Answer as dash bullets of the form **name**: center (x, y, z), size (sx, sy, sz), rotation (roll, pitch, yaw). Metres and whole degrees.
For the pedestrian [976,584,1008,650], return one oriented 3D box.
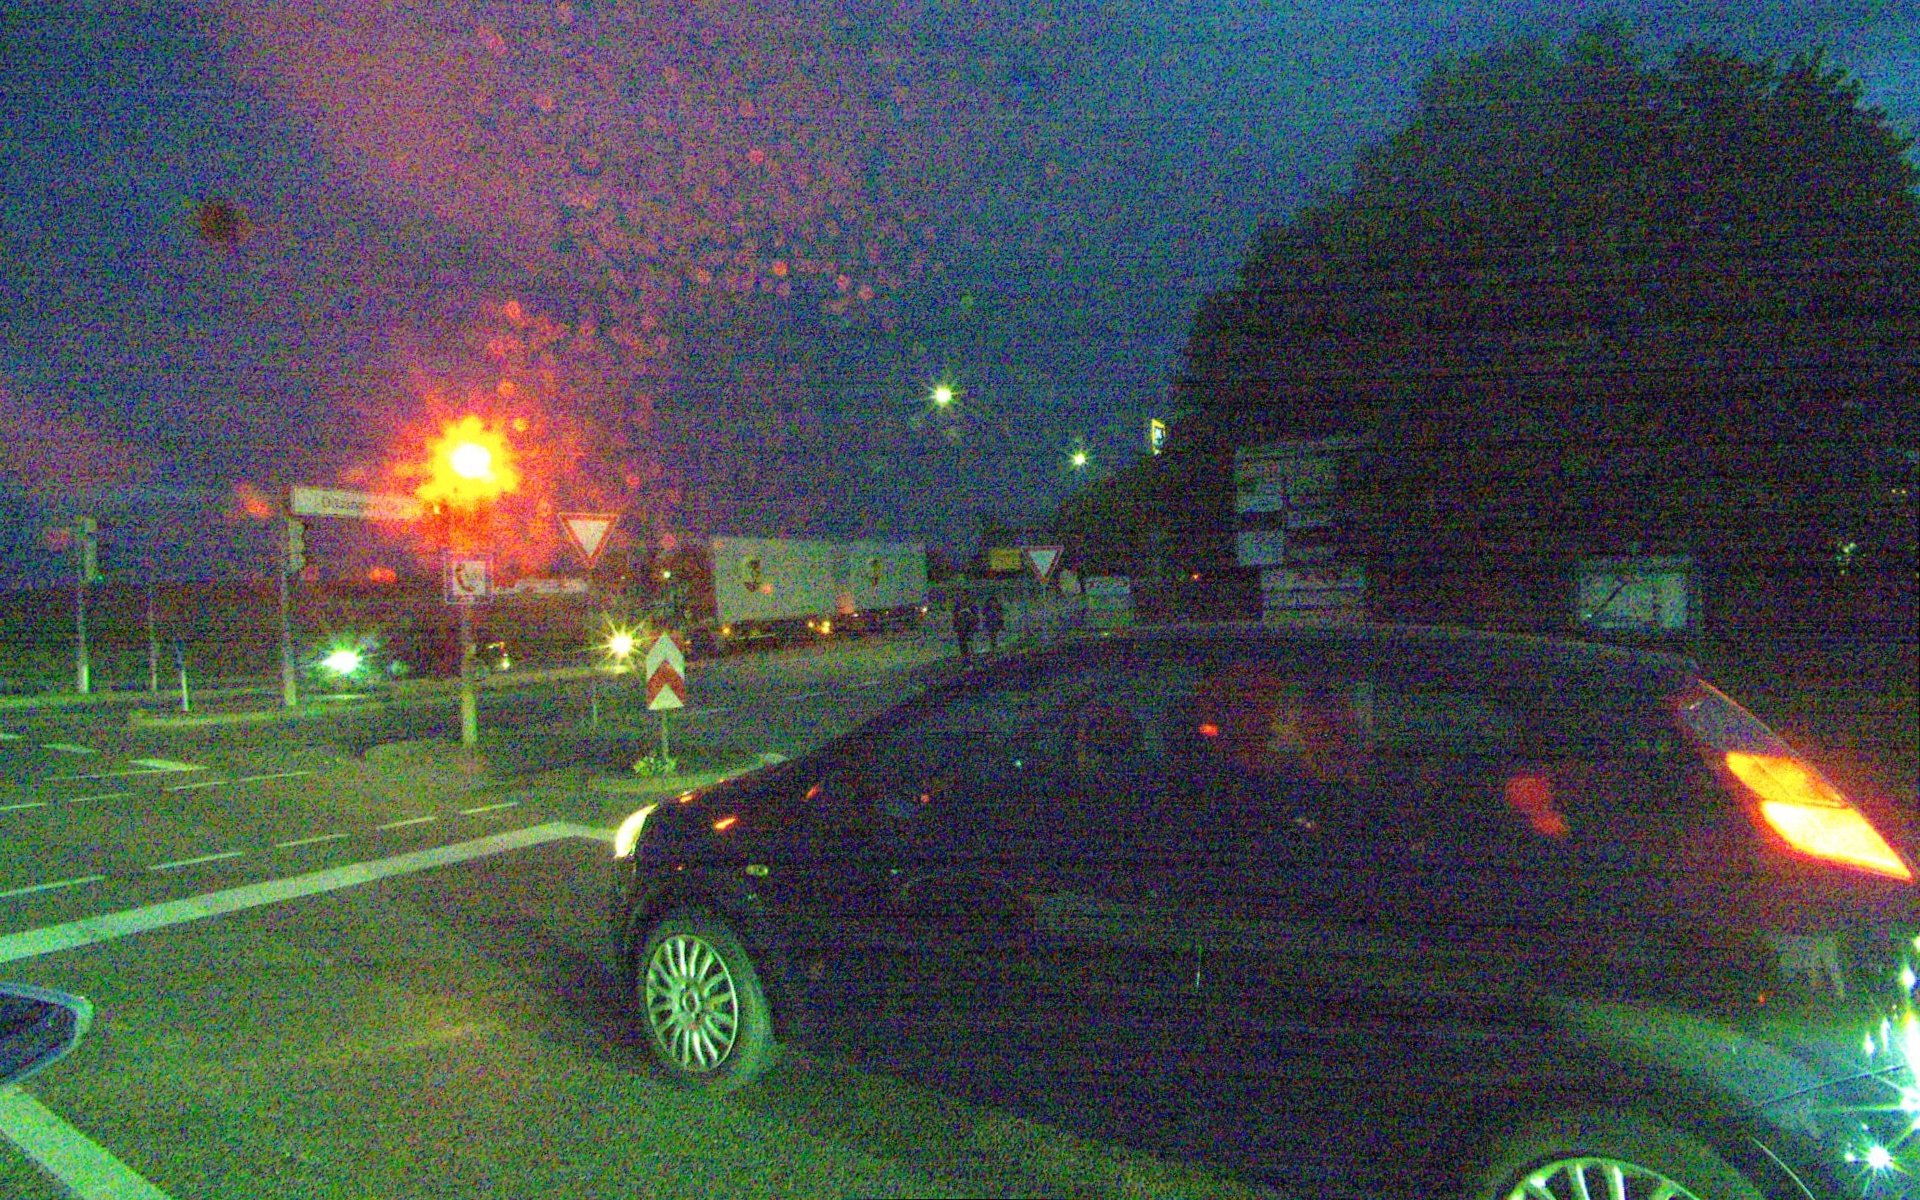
- **pedestrian**: center (0.941, 0.495, 29.485), size (0.860, 1.925, 0.660), rotation (-1, 1, 6)

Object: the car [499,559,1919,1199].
- **car**: center (0.440, 0.749, 3.240), size (4.049, 1.540, 1.666), rotation (-1, -1, 34)

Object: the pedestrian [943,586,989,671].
- **pedestrian**: center (0.137, 0.637, 22.645), size (0.861, 1.859, 0.731), rotation (-3, 1, 6)

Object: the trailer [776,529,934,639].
- **trailer**: center (-4.366, -0.784, 44.418), size (2.875, 4.361, 9.043), rotation (-1, 2, 22)

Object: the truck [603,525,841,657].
- **truck**: center (-8.018, -0.332, 35.802), size (2.876, 4.033, 10.042), rotation (-1, 1, 23)

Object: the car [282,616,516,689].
- **car**: center (-13.516, 1.200, 24.405), size (1.972, 1.540, 4.590), rotation (0, 0, 33)
